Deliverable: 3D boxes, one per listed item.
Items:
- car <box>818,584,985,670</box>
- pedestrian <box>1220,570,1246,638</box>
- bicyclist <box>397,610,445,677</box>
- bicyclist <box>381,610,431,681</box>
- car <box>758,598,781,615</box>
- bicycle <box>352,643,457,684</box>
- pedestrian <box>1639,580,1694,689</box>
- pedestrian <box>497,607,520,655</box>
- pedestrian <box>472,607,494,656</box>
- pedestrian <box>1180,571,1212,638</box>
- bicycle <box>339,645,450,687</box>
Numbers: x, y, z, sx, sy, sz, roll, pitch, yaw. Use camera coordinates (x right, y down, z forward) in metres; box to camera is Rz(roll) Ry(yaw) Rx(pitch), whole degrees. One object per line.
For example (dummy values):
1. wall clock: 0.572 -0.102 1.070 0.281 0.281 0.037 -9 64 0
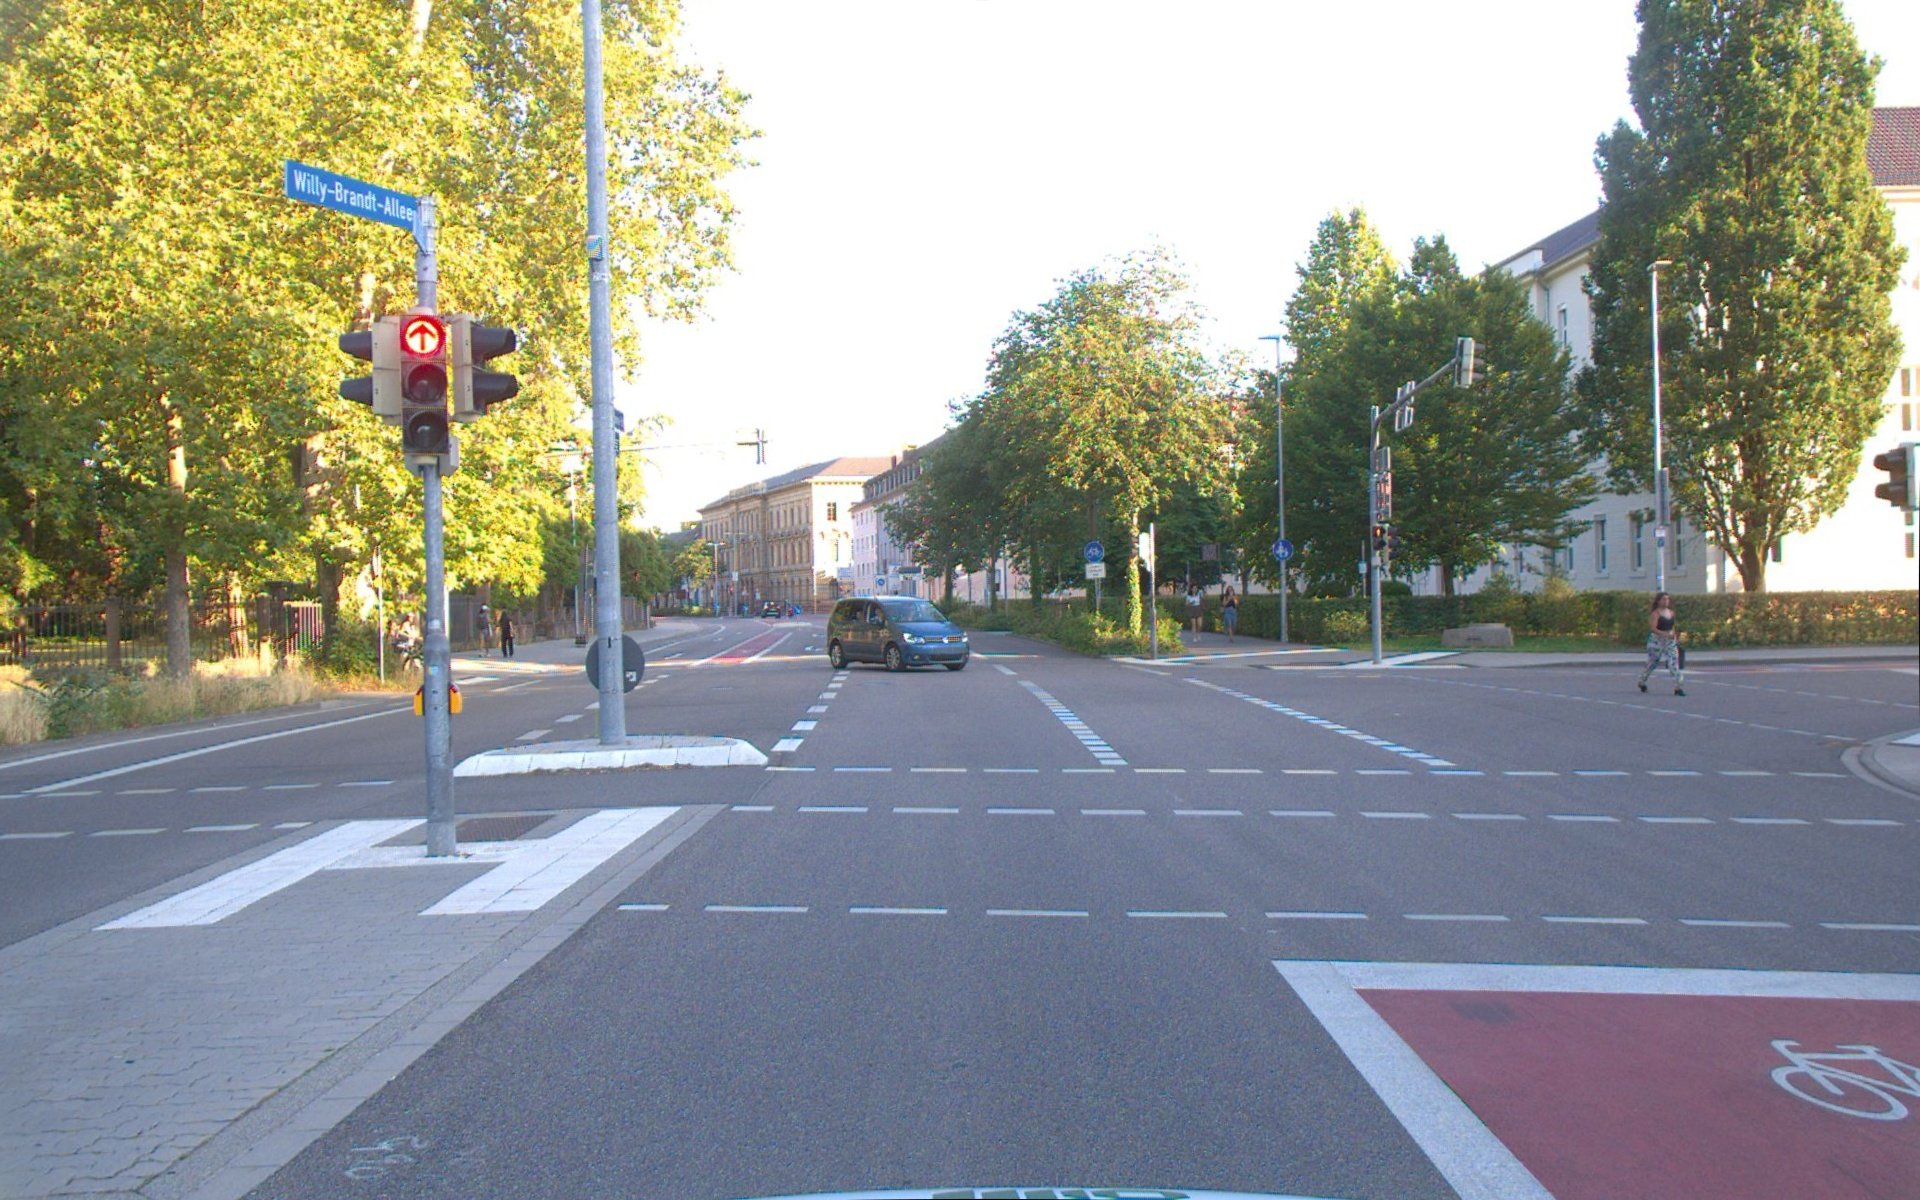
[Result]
1. car: -1.369 0.586 36.808 1.832 1.750 4.248 -1 0 -32
2. pedestrian: 8.220 0.118 49.791 0.622 2.049 0.720 0 0 -5
3. bicyclist: -13.637 1.096 41.842 0.938 1.659 0.752 -1 0 0
4. bicyclist: -13.431 1.097 40.107 0.938 1.659 0.752 -1 0 0
5. car: -19.510 0.635 169.404 1.789 1.616 3.984 -2 0 -15
6. bicycle: -14.038 1.605 41.819 2.380 0.940 0.775 -1 0 0
7. pedestrian: 10.858 0.520 25.445 0.587 1.664 0.692 0 0 5
8. pedestrian: -15.278 1.053 55.954 0.587 1.601 0.646 -1 0 -1
9. pedestrian: -16.157 1.057 56.036 0.524 1.624 0.590 -1 0 -1
10. pedestrian: 7.215 0.139 50.565 0.852 2.049 0.722 0 0 -1
11. bicycle: -13.704 1.600 40.123 2.380 0.940 0.775 -1 0 0
